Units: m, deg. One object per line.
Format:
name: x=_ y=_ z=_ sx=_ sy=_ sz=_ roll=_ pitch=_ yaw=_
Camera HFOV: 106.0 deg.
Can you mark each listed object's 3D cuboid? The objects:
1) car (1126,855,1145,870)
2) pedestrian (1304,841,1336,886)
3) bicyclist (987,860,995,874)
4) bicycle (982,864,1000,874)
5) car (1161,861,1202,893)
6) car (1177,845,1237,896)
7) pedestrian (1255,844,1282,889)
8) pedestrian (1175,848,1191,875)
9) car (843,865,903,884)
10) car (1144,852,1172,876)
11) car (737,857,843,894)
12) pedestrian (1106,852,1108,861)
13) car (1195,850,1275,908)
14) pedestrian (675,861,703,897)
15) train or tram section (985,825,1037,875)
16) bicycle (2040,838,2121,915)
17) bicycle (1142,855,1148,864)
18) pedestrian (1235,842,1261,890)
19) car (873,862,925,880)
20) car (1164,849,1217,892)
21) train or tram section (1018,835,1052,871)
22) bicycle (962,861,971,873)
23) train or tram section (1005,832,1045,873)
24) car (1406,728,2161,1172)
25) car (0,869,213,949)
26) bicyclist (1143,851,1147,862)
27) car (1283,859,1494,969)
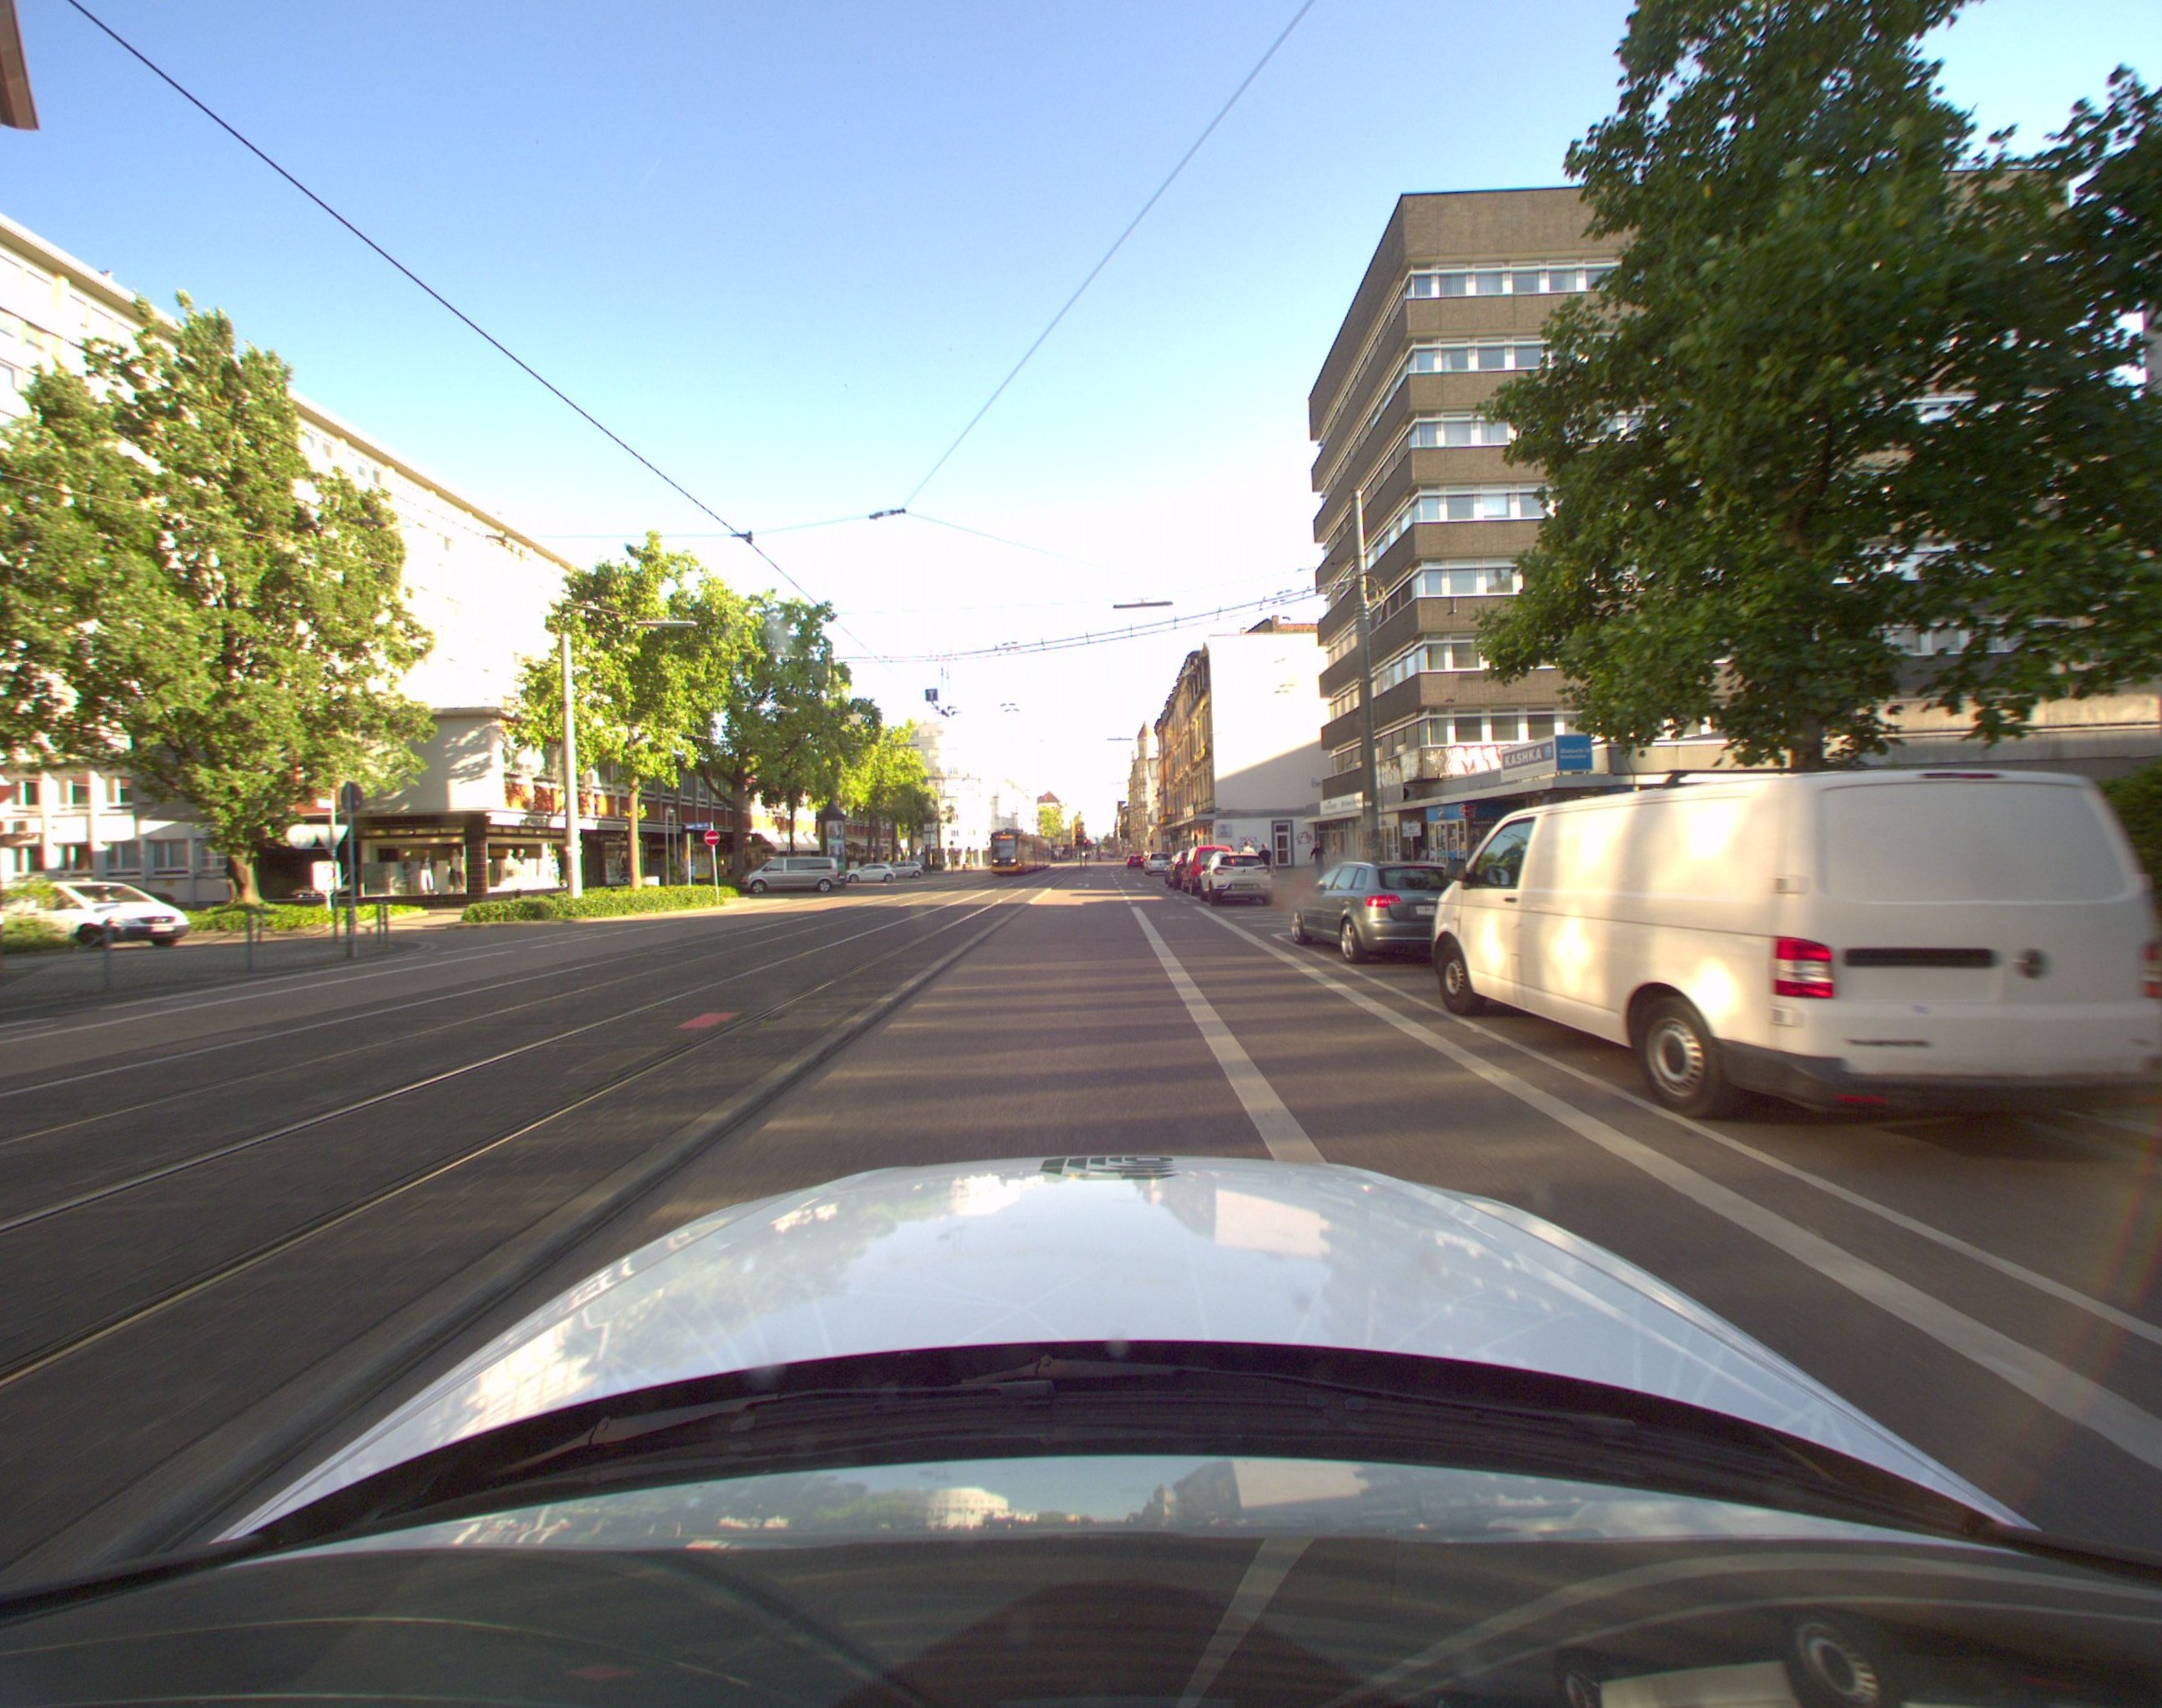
car: x=5.590 y=0.892 z=84.223 sx=1.748 sy=1.466 sz=3.944 roll=0 pitch=0 yaw=0
pedestrian: x=9.693 y=0.381 z=33.109 sx=0.897 sy=1.713 sz=1.033 roll=-4 pitch=0 yaw=1
bicyclist: x=-10.222 y=1.471 z=92.686 sx=0.732 sy=1.627 sz=0.760 roll=-1 pitch=-1 yaw=-20
bicycle: x=-10.277 y=1.707 z=93.101 sx=2.025 sy=1.177 sz=0.624 roll=-1 pitch=-1 yaw=-21
car: x=5.129 y=1.151 z=41.862 sx=1.632 sy=1.492 sz=3.794 roll=1 pitch=0 yaw=0
car: x=4.734 y=0.601 z=31.049 sx=1.669 sy=1.808 sz=4.249 roll=0 pitch=0 yaw=1
pedestrian: x=7.575 y=0.486 z=32.933 sx=0.808 sy=1.756 sz=1.033 roll=-2 pitch=0 yaw=1
pedestrian: x=7.115 y=0.512 z=56.821 sx=0.943 sy=1.792 sz=1.055 roll=-3 pitch=0 yaw=1
car: x=-16.233 y=1.556 z=63.543 sx=4.281 sy=1.429 sz=1.750 roll=0 pitch=-1 yaw=-30
car: x=5.420 y=0.704 z=57.730 sx=1.632 sy=1.615 sz=3.944 roll=-1 pitch=0 yaw=0
car: x=-15.787 y=1.142 z=44.270 sx=5.137 sy=1.929 sz=1.836 roll=1 pitch=-1 yaw=-31
pedestrian: x=6.419 y=0.610 z=202.616 sx=0.557 sy=2.013 sz=0.604 roll=-2 pitch=0 yaw=1
car: x=4.634 y=0.712 z=25.027 sx=1.780 sy=1.596 sz=4.329 roll=-1 pitch=0 yaw=2
pedestrian: x=-20.990 y=1.315 z=43.614 sx=0.889 sy=1.878 sz=0.924 roll=-2 pitch=0 yaw=22
train or tram section: x=-5.499 y=-0.239 z=66.085 sx=2.749 sy=3.551 sz=12.470 roll=-2 pitch=0 yaw=1
bicycle: x=13.558 y=0.286 z=11.035 sx=1.624 sy=0.959 sz=0.365 roll=-2 pitch=-1 yaw=-28
bicycle: x=8.661 y=0.739 z=110.250 sx=0.417 sy=1.096 sz=1.421 roll=-2 pitch=0 yaw=22
pedestrian: x=6.733 y=0.487 z=32.909 sx=0.791 sy=1.899 sz=1.033 roll=-2 pitch=0 yaw=1
car: x=-16.538 y=1.523 z=74.017 sx=4.293 sy=1.566 sz=1.810 roll=0 pitch=-1 yaw=-30
car: x=4.751 y=0.688 z=35.906 sx=1.814 sy=1.757 sz=4.476 roll=0 pitch=0 yaw=1
train or tram section: x=-4.971 y=-0.045 z=89.907 sx=2.666 sy=3.551 sz=12.844 roll=-2 pitch=0 yaw=1
bicycle: x=-13.900 y=1.548 z=98.670 sx=0.668 sy=1.327 sz=1.908 roll=1 pitch=0 yaw=4
train or tram section: x=-5.222 y=-0.130 z=77.914 sx=2.666 sy=3.551 sz=11.128 roll=-2 pitch=0 yaw=1
car: x=4.312 y=0.444 z=6.183 sx=1.870 sy=2.021 sz=4.908 roll=-1 pitch=0 yaw=2
car: x=-27.072 y=1.495 z=21.916 sx=4.964 sy=1.968 sz=2.131 roll=-2 pitch=-3 yaw=-1
bicyclist: x=8.682 y=0.338 z=110.348 sx=0.417 sy=1.409 sz=0.662 roll=-2 pitch=0 yaw=22
car: x=4.450 y=0.792 z=12.496 sx=1.669 sy=1.404 sz=4.166 roll=0 pitch=-1 yaw=0
